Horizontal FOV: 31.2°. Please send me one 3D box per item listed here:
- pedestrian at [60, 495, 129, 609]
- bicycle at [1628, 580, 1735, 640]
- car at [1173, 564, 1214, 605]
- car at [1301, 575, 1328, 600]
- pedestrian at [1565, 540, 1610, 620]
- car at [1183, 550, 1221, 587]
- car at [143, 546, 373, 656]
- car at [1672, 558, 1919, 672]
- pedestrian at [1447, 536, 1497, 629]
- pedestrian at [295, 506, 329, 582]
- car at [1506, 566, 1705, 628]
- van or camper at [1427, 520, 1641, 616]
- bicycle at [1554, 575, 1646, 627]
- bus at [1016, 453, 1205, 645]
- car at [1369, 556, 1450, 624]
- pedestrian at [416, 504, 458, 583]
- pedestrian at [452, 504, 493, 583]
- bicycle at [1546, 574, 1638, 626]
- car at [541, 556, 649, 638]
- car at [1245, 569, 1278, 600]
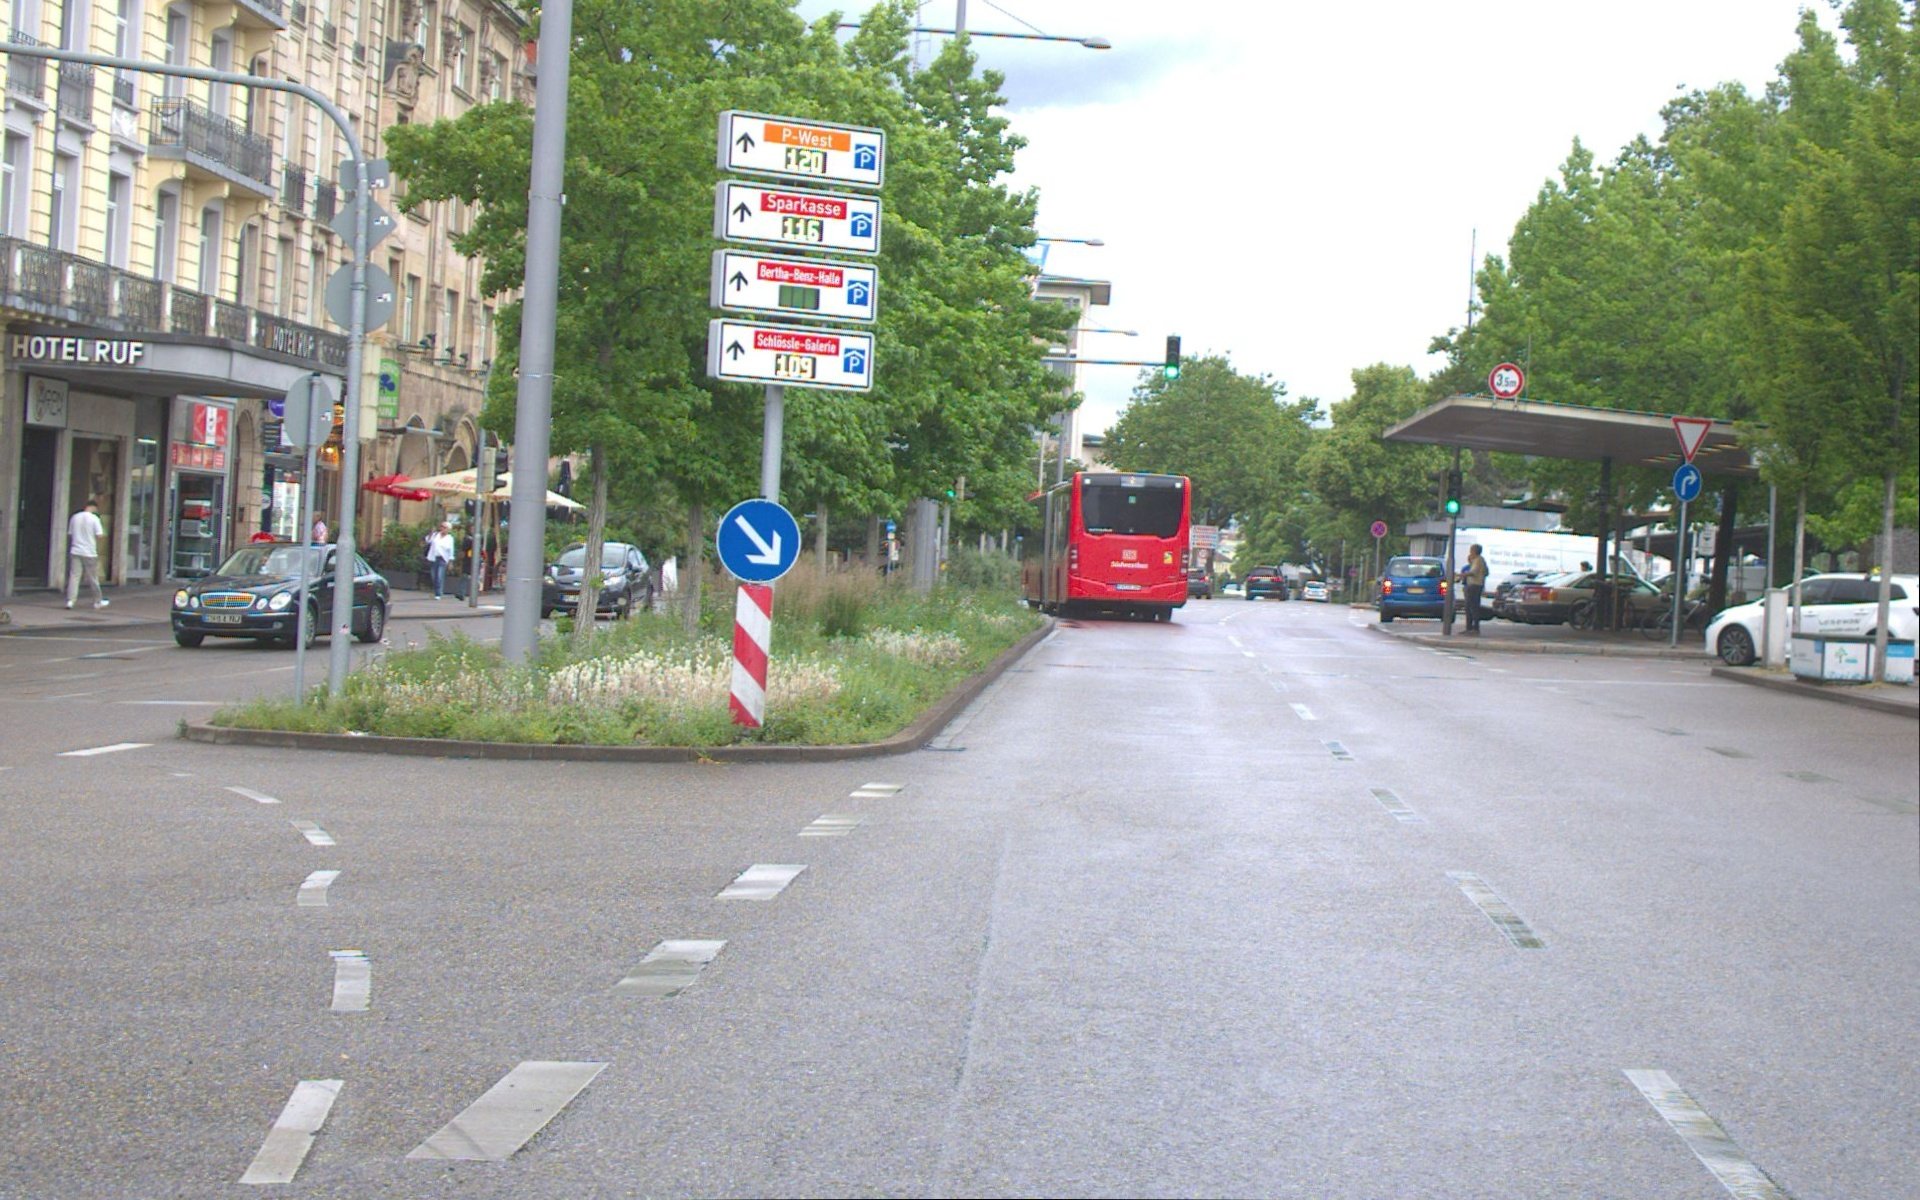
[{"bbox_3d":[-13.935,-0.767,55.351,0.879,1.806,0.750,1,0,4],"label":"pedestrian"},{"bbox_3d":[12.969,0.174,61.814,1.827,1.052,0.420,1,0,4],"label":"bicycle"},{"bbox_3d":[11.692,-0.788,172.167,1.994,2.007,3.999,1,0,4],"label":"car"},{"bbox_3d":[24.040,-0.832,233.015,1.645,1.655,3.650,1,0,4],"label":"car"},{"bbox_3d":[14.625,-0.454,80.196,0.856,1.829,1.190,1,0,3],"label":"pedestrian"},{"bbox_3d":[13.199,-1.702,187.630,1.994,2.007,3.999,1,0,4],"label":"car"},{"bbox_3d":[-9.494,0.002,46.836,1.956,1.418,3.999,1,0,6],"label":"car"},{"bbox_3d":[12.785,0.209,50.064,1.758,1.540,4.776,1,0,-36],"label":"car"},{"bbox_3d":[9.818,-0.335,65.957,0.746,1.741,0.836,1,0,-4],"label":"pedestrian"},{"bbox_3d":[-14.186,-1.222,75.305,0.666,1.658,0.536,1,0,-5],"label":"pedestrian"},{"bbox_3d":[15.198,-0.065,80.995,4.184,1.321,1.841,2,0,-16],"label":"car"},{"bbox_3d":[16.943,-0.924,101.380,5.945,2.753,2.199,0,0,-23],"label":"van or camper"},{"bbox_3d":[13.095,0.015,70.329,1.827,1.052,0.420,0,0,-14],"label":"bicycle"},{"bbox_3d":[3.216,-1.099,76.880,3.544,3.966,11.172,1,0,-1],"label":"bus"},{"bbox_3d":[11.035,-0.234,84.408,1.859,1.564,3.999,2,0,7],"label":"car"},{"bbox_3d":[-11.056,-1.190,72.730,0.681,1.658,0.807,1,0,7],"label":"pedestrian"},{"bbox_3d":[-10.292,-1.195,72.587,0.681,1.658,0.807,1,0,4],"label":"pedestrian"},{"bbox_3d":[13.011,0.005,70.784,1.827,1.052,0.420,0,0,-14],"label":"bicycle"},{"bbox_3d":[-6.932,-0.069,65.617,1.677,1.507,3.863,1,0,0],"label":"car"},{"bbox_3d":[15.651,-0.799,178.693,1.595,1.555,3.650,1,0,4],"label":"car"}]
